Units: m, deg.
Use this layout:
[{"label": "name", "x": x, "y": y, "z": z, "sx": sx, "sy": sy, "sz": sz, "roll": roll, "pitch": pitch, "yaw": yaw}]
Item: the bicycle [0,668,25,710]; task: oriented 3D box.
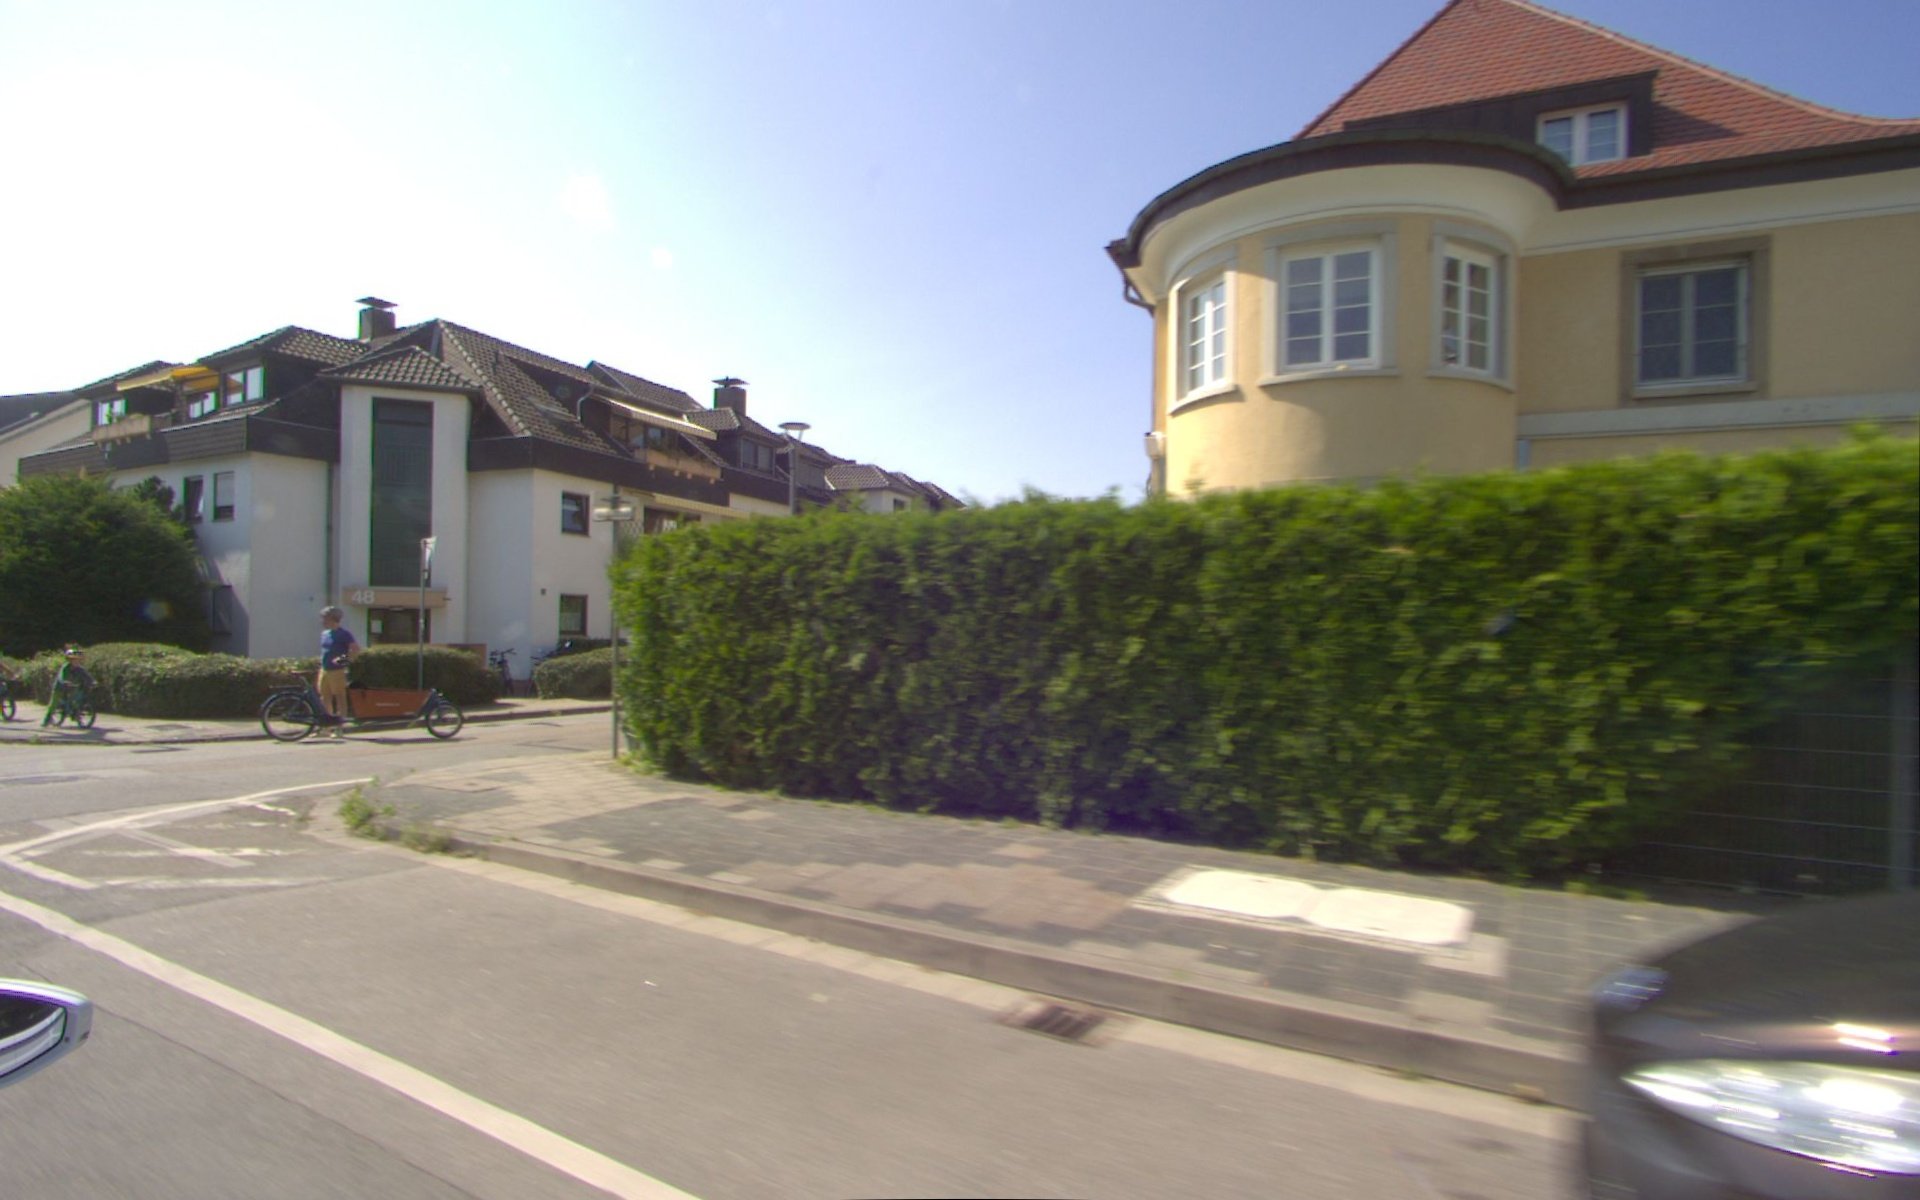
[{"label": "bicycle", "x": -15.136, "y": 1.386, "z": 15.667, "sx": 1.133, "sy": 0.607, "sz": 0.401, "roll": 0, "pitch": -1, "yaw": 28}]

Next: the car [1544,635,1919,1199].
[{"label": "car", "x": 3.281, "y": 0.853, "z": 1.350, "sx": 4.280, "sy": 1.485, "sz": 1.736, "roll": -1, "pitch": -5, "yaw": 30}]

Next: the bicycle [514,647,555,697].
[{"label": "bicycle", "x": -10.566, "y": 1.777, "z": 24.917, "sx": 0.620, "sy": 1.110, "sz": 1.683, "roll": 1, "pitch": 1, "yaw": -12}]

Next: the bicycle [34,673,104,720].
[{"label": "bicycle", "x": -13.066, "y": 1.406, "z": 14.677, "sx": 1.155, "sy": 0.607, "sz": 0.401, "roll": 0, "pitch": -1, "yaw": 29}]

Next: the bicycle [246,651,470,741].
[{"label": "bicycle", "x": -8.521, "y": 1.337, "z": 14.358, "sx": 2.671, "sy": 1.173, "sz": 0.860, "roll": 2, "pitch": -1, "yaw": -27}]

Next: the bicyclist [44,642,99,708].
[{"label": "bicyclist", "x": -12.975, "y": 1.084, "z": 14.623, "sx": 0.648, "sy": 0.941, "sz": 0.401, "roll": 0, "pitch": -1, "yaw": 29}]

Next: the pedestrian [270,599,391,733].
[{"label": "pedestrian", "x": -9.191, "y": 0.952, "z": 14.668, "sx": 1.166, "sy": 1.896, "sz": 0.902, "roll": 1, "pitch": -1, "yaw": -2}]

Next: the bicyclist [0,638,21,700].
[{"label": "bicyclist", "x": -15.097, "y": 1.080, "z": 15.670, "sx": 0.599, "sy": 0.945, "sz": 0.398, "roll": 0, "pitch": -1, "yaw": 28}]
